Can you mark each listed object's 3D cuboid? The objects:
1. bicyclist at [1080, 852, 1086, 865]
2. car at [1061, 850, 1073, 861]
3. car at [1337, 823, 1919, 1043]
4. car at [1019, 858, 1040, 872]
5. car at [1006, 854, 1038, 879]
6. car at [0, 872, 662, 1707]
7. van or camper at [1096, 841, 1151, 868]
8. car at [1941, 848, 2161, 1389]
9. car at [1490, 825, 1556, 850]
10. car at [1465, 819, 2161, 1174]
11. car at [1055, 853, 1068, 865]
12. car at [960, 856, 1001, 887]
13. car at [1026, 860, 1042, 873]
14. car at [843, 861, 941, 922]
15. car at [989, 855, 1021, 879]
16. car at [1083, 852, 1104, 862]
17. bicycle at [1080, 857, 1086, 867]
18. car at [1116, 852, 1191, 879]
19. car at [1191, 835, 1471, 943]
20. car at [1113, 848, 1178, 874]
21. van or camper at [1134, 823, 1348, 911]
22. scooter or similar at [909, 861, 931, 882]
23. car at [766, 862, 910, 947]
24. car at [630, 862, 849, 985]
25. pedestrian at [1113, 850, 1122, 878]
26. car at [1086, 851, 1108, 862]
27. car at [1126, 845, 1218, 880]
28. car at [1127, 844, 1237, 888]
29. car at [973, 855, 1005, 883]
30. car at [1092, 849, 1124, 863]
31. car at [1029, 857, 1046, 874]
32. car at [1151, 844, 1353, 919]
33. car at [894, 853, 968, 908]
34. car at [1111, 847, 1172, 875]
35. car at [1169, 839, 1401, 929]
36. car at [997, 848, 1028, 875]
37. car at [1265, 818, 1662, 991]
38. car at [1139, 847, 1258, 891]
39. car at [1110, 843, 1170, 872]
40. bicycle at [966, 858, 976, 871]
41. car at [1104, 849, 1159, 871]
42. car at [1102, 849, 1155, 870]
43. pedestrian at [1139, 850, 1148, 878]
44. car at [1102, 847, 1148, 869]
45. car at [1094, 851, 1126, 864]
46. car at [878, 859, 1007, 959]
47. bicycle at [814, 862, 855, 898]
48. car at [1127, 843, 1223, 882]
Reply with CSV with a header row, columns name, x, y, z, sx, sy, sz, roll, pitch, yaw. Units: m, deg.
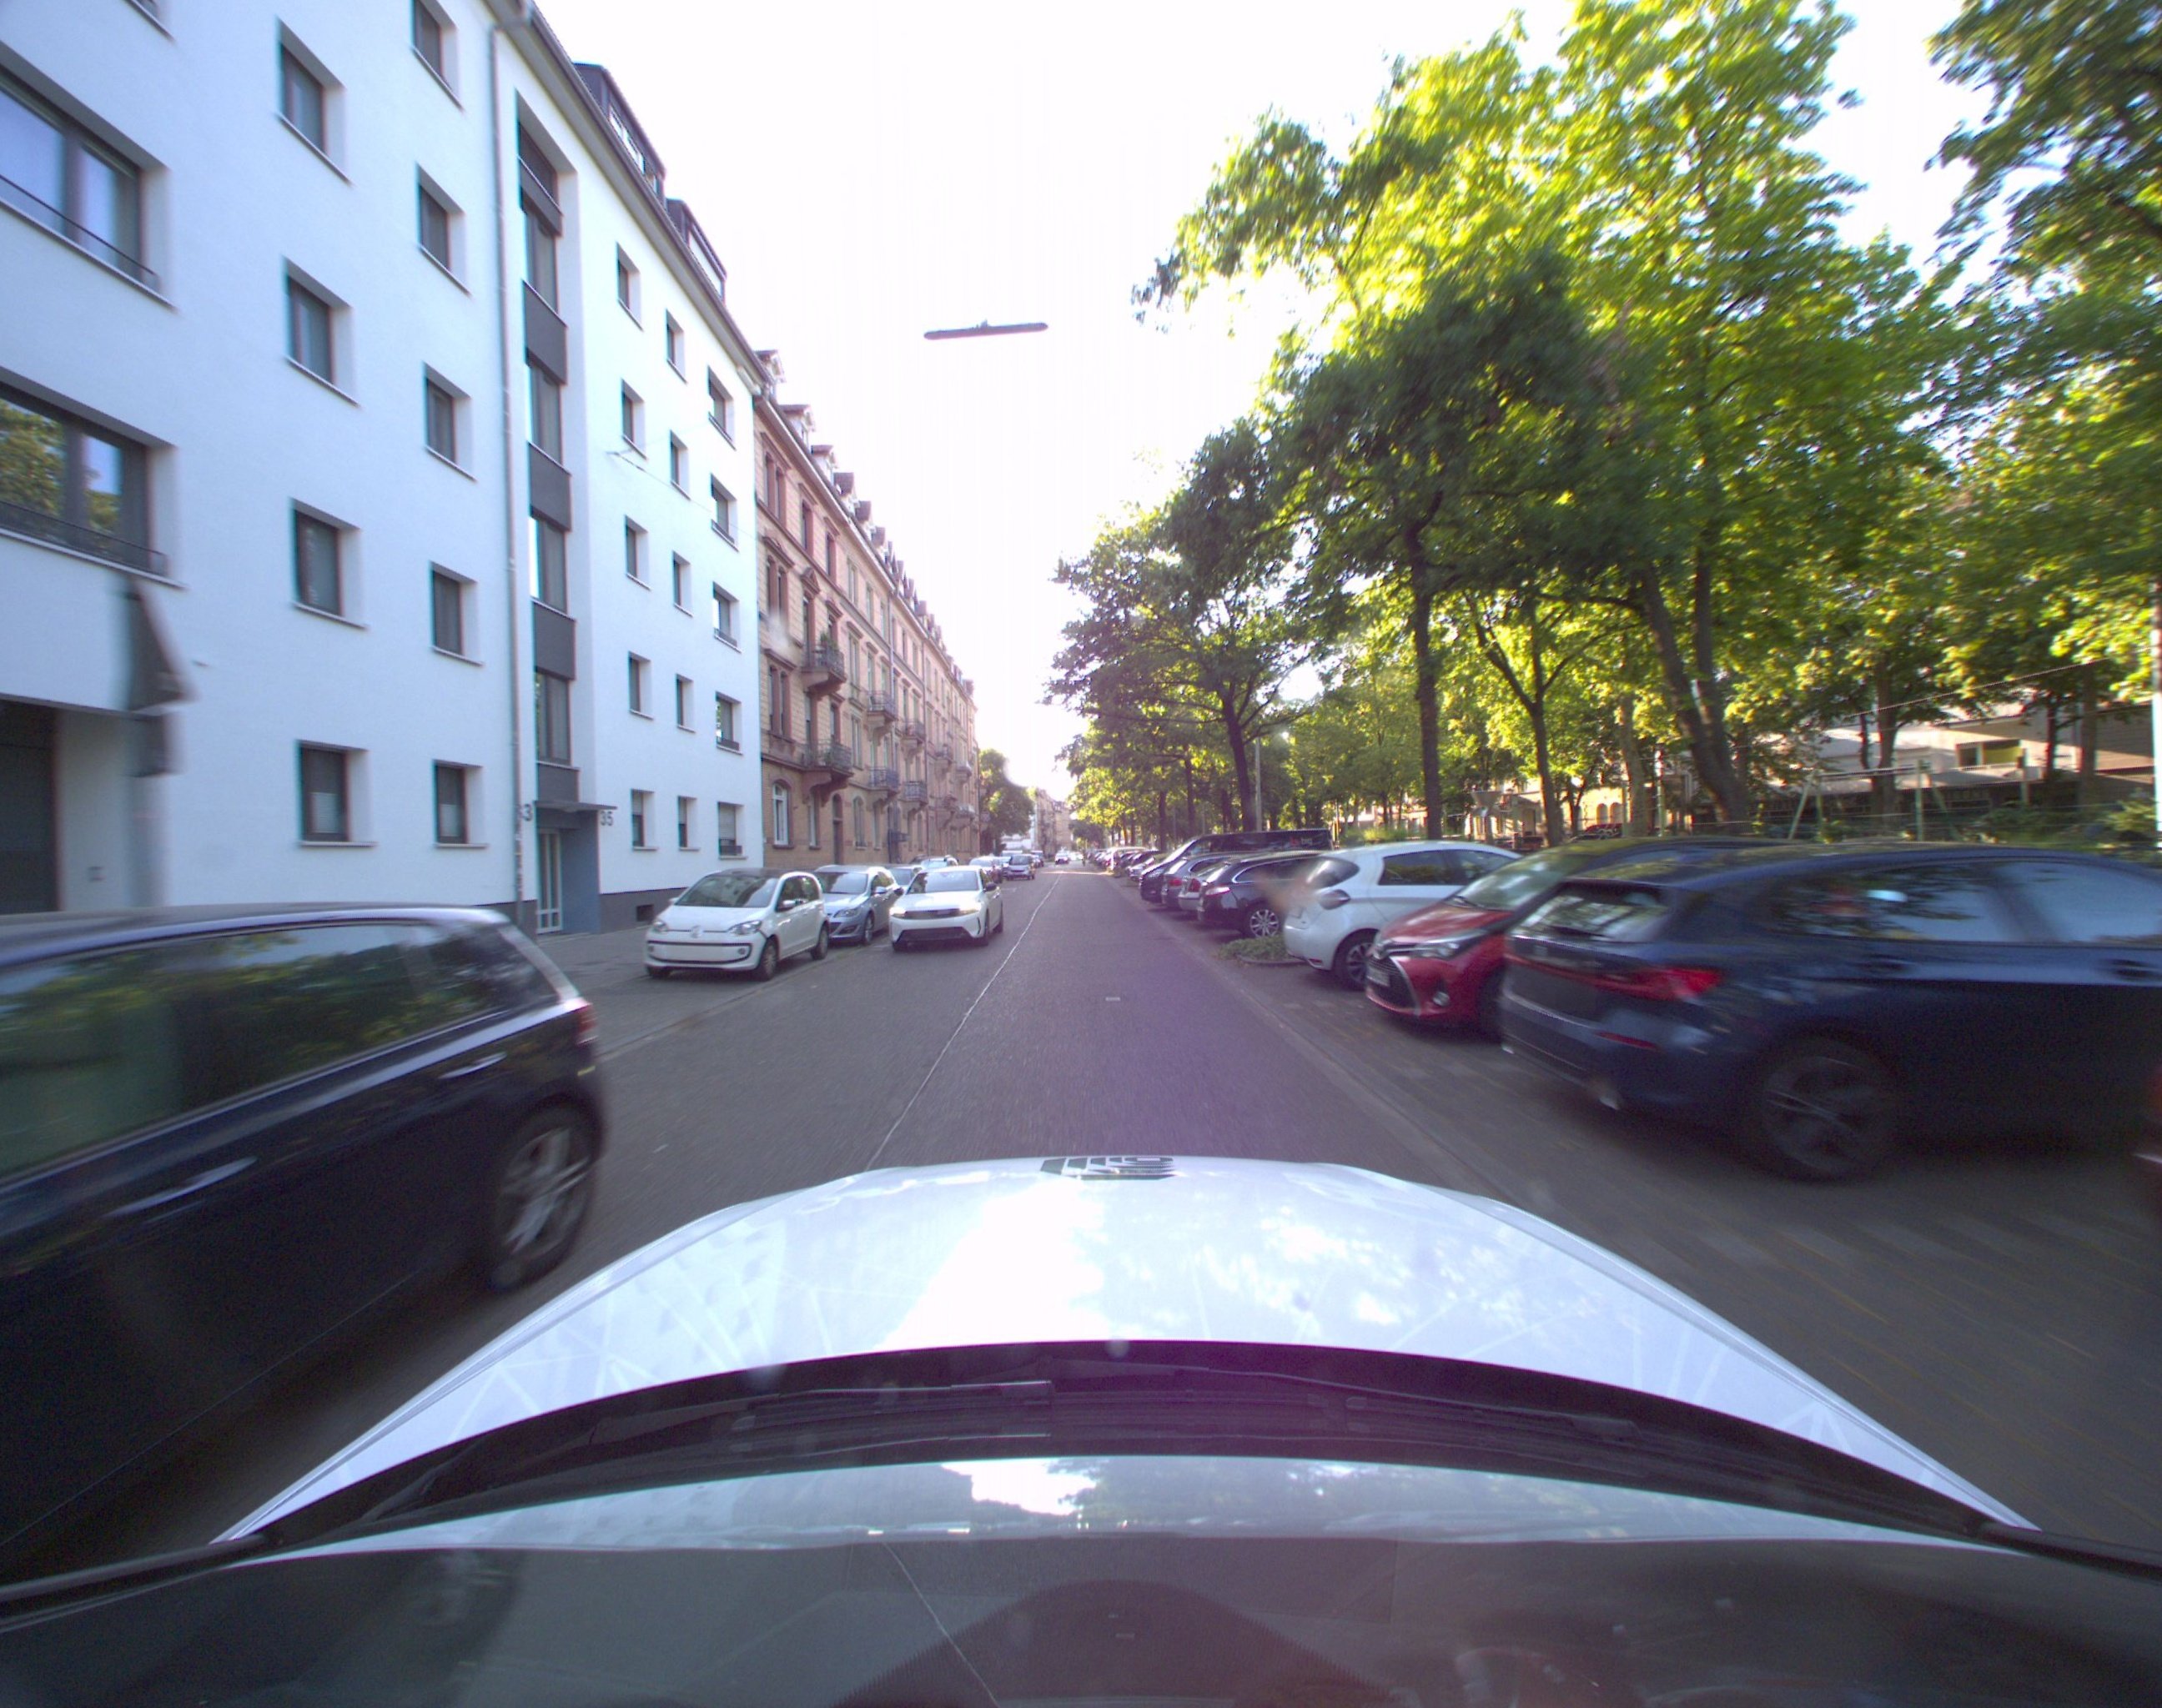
name,x,y,z,sx,sy,sz,roll,pitch,yaw
bicyclist,0.264,0.527,96.384,0.626,1.573,0.801,-1,-2,-2
car,-2.347,0.282,138.847,1.988,1.838,3.997,-1,-2,-2
car,4.342,0.614,6.945,3.768,1.473,1.665,-3,-2,1
car,-5.588,1.209,88.701,1.749,1.466,4.270,-1,0,2
car,-3.656,0.761,50.699,1.497,1.435,2.756,-3,0,4
car,-2.858,0.867,1.727,1.733,1.479,4.001,-3,0,1
van or camper,3.986,0.042,76.757,4.969,2.377,2.183,-1,-2,-3
car,4.713,0.603,1.857,3.775,1.401,1.763,-3,-2,-5
car,33.574,-1.243,61.926,3.975,1.684,1.999,-1,-2,-1
car,4.326,0.608,4.294,3.764,1.447,1.666,-3,-2,4
car,-2.682,0.630,110.964,1.664,1.464,3.998,-3,0,-1
car,-5.145,0.862,42.180,1.749,1.464,3.997,1,0,-2
car,-5.577,1.469,97.357,1.751,1.466,4.266,-1,0,-1
car,-5.027,0.952,22.145,1.609,1.451,4.002,0,0,2
car,-5.189,0.857,56.200,1.668,1.454,4.210,-3,0,0
car,2.630,0.668,168.019,3.961,2.014,2.006,-1,-2,11
bicycle,0.269,0.936,96.340,0.639,1.100,1.942,-1,-2,-1
car,3.895,0.610,43.905,3.832,1.279,1.689,-3,0,-2
car,4.220,0.603,14.303,4.379,1.577,1.666,-3,-2,4
car,4.247,0.479,54.178,4.072,1.442,1.759,-4,0,-3
van or camper,4.230,0.331,22.192,5.393,2.027,2.030,-3,0,1
scooter or similar,-9.541,1.046,48.408,0.781,1.222,2.703,-1,-2,0
car,-4.884,0.945,17.026,1.663,1.471,4.284,1,0,0
car,-4.966,0.915,12.483,1.663,1.508,3.999,1,0,-1
pedestrian,2.115,0.553,47.079,0.377,1.584,0.521,-1,2,19
car,3.234,0.562,164.498,3.961,2.014,2.006,-1,-2,11
car,4.647,0.433,41.999,4.393,1.591,1.834,-3,-1,-6
car,4.246,0.493,34.617,4.387,1.591,1.837,-3,-1,-2
car,-5.270,0.823,46.859,1.745,1.546,4.142,0,0,-6
car,3.553,0.304,107.025,3.978,1.794,1.856,-1,-2,-4
car,-5.496,1.443,102.892,1.952,2.018,4.266,-1,0,-1
car,4.008,0.657,19.594,4.390,1.501,1.835,-3,-2,-4
car,-4.952,0.820,27.432,1.746,1.706,4.199,-1,0,-1
car,3.797,0.445,51.750,3.662,1.501,1.762,-4,0,0
car,4.127,0.618,16.970,4.383,1.577,1.665,-3,-2,1
car,-5.174,0.582,61.991,1.988,1.921,5.036,-1,-2,-2
car,4.243,0.550,9.467,3.770,1.646,1.664,-3,-2,0
car,4.526,0.579,31.863,4.383,1.440,1.838,-3,-1,1
car,4.309,0.267,59.712,4.206,1.864,1.762,-4,0,0
bicycle,-9.687,0.949,71.485,0.703,1.147,1.887,-1,-2,-3
car,3.989,0.475,64.224,4.202,1.453,1.650,-4,0,3
car,3.917,0.439,67.118,4.206,1.453,1.865,-4,0,0
pedestrian,3.571,0.567,46.597,0.377,1.516,0.521,-1,2,19
car,3.870,0.348,72.193,3.974,1.691,1.859,-4,0,0
car,3.660,0.491,104.353,3.978,1.563,1.856,-1,-2,-4
car,-2.495,0.939,15.644,1.663,1.430,4.000,-4,1,0
bicycle,-9.169,0.941,30.398,0.734,1.206,2.514,-1,1,1
car,4.501,0.407,39.396,4.385,1.591,1.837,-3,-1,0
